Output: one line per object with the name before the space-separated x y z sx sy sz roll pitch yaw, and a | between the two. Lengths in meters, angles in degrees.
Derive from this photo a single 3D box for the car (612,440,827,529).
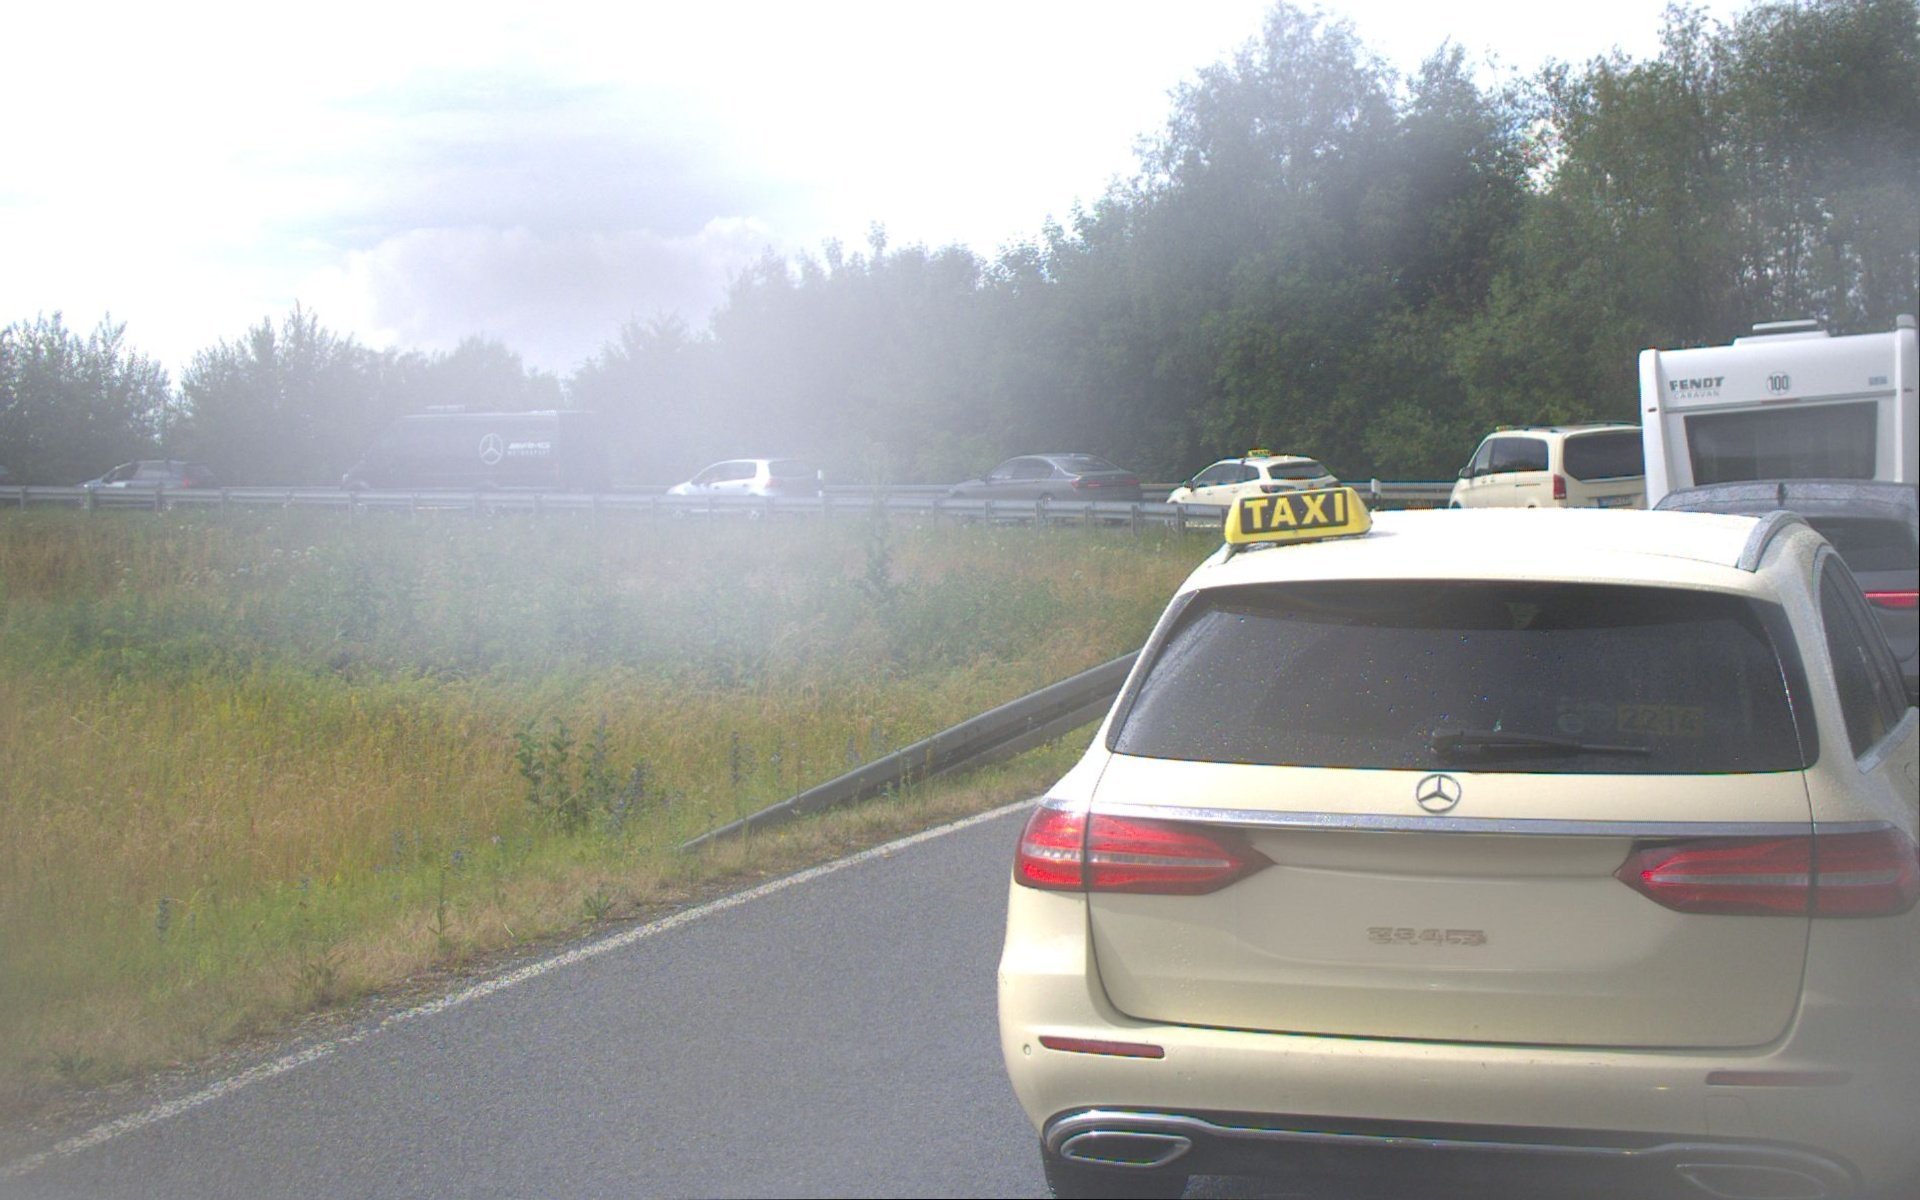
car | -5.643 -2.684 80.352 5.053 1.855 1.995 -1 0 41

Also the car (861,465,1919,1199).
car | 1.384 0.470 7.960 1.917 1.502 4.593 0 2 16

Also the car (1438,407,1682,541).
car | 9.243 -1.920 53.420 1.993 1.855 5.059 -2 0 -11

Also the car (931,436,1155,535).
car | 1.706 -2.383 72.237 1.994 1.855 5.056 -2 0 -36

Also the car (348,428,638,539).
car | -11.611 -2.868 85.215 6.975 2.586 2.870 0 2 35

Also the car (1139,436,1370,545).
car | 5.422 -2.008 63.963 1.993 1.855 5.058 -1 0 -25

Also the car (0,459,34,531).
car | -27.489 -2.716 91.588 5.043 1.855 1.999 -2 0 13

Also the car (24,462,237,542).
car | -21.504 -2.518 89.136 5.045 1.855 1.998 -2 0 19

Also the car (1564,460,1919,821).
car | 4.091 0.125 16.564 1.719 1.519 3.997 -1 1 19

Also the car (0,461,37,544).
car | -26.952 -2.563 91.683 3.992 2.005 1.998 0 9 26

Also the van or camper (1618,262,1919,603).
van or camper | 7.471 -1.356 30.675 2.432 2.720 5.996 0 0 18
